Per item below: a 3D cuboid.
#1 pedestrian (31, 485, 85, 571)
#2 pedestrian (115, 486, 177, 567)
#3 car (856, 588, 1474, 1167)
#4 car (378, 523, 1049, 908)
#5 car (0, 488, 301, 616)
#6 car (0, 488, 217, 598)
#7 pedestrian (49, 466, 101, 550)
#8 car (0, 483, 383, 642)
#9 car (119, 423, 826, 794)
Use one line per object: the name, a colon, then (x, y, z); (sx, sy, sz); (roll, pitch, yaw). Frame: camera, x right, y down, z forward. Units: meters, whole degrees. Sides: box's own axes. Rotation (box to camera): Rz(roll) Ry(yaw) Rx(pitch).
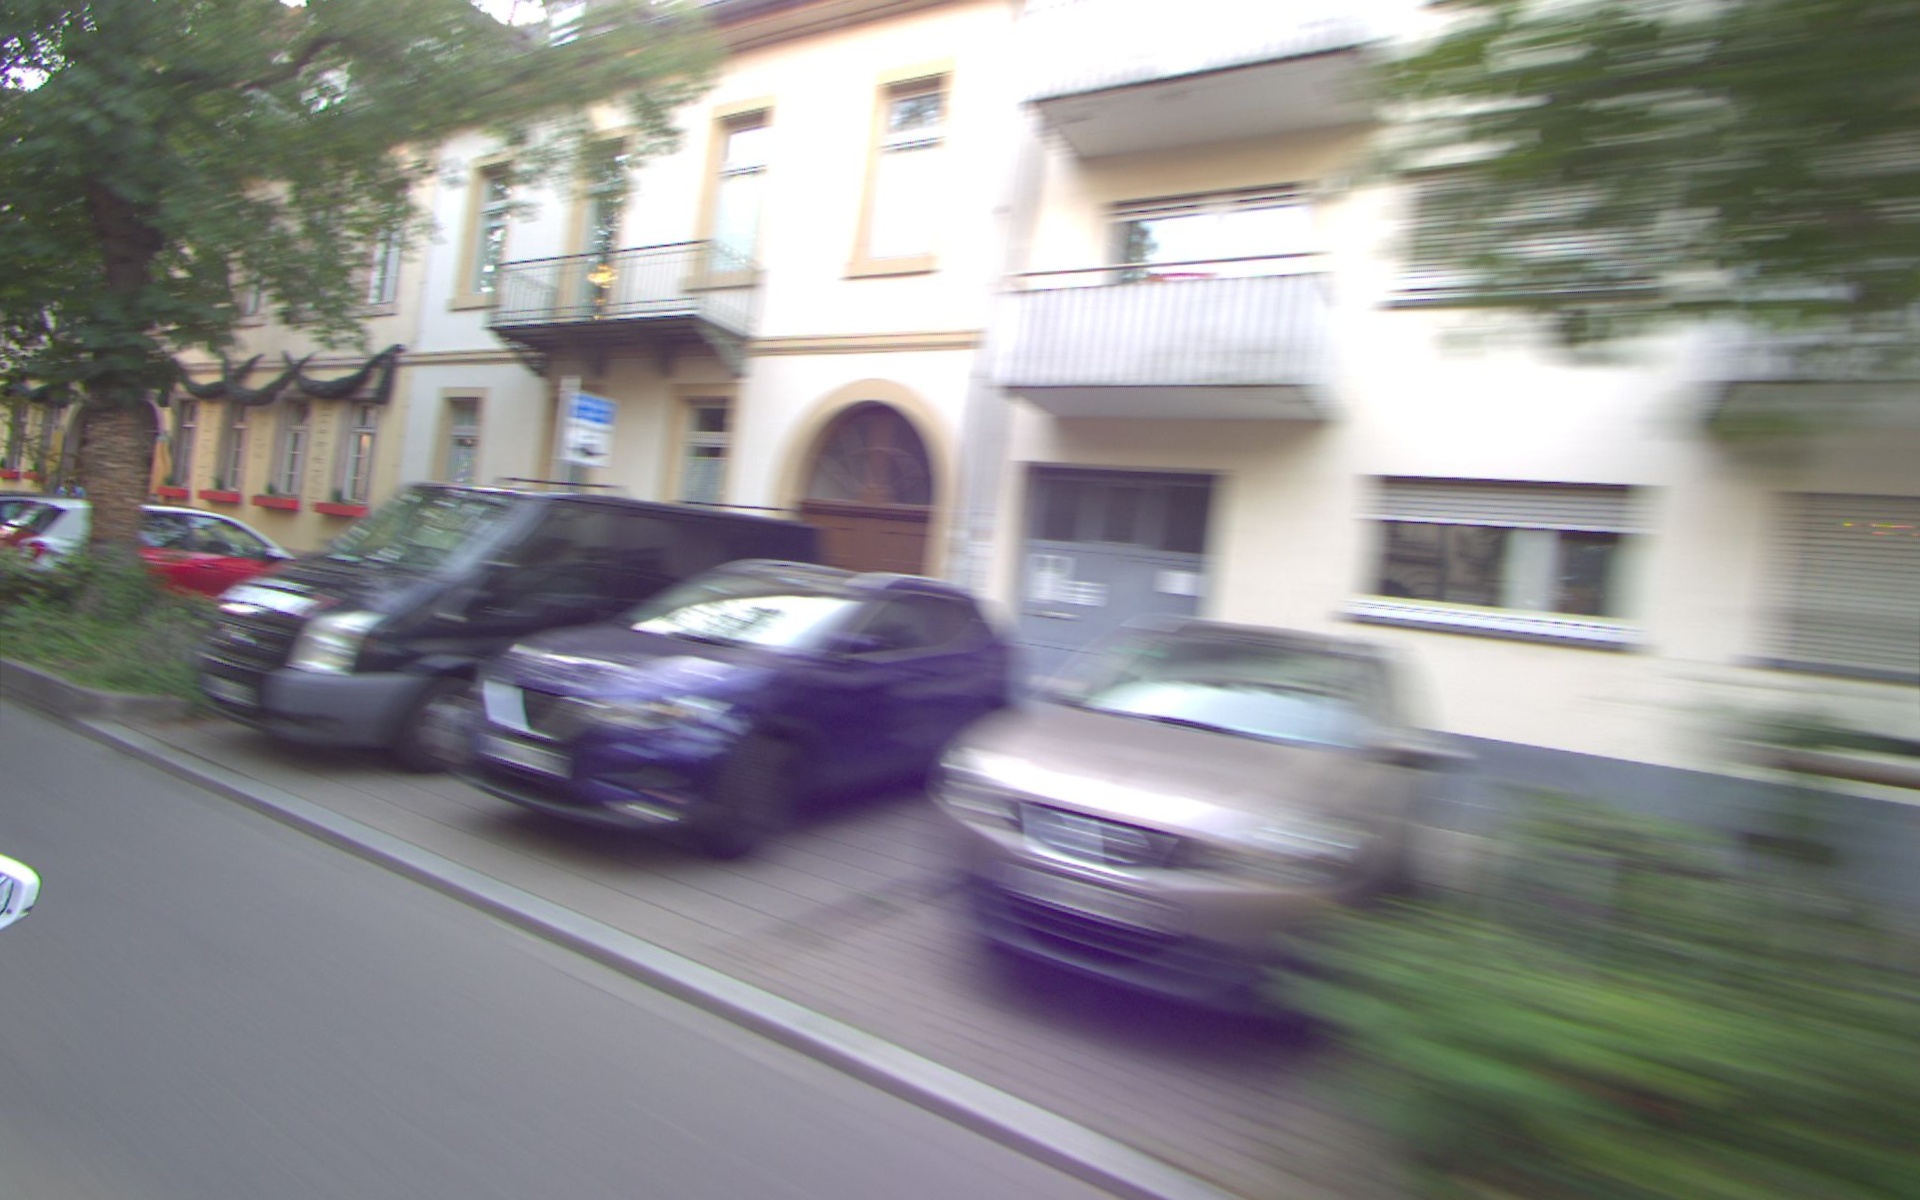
pedestrian: (-19.502, -1.557, 21.758); (0.708, 1.761, 0.739); (6, 3, -39)
pedestrian: (-19.228, -1.722, 23.780); (0.671, 1.761, 0.778); (8, 2, 16)
car: (1.433, 0.901, 5.205); (1.820, 1.599, 3.967); (7, 2, 30)
car: (-1.230, 0.543, 6.748); (1.936, 1.599, 4.158); (7, 2, 30)
car: (-11.570, -0.639, 13.601); (1.894, 1.457, 3.989); (7, 2, 30)
car: (-13.810, -0.896, 14.652); (1.853, 1.412, 4.403); (7, 2, 29)
pedestrian: (-19.863, -2.066, 22.570); (0.613, 1.761, 0.615); (8, 2, 31)
car: (-9.397, -0.390, 12.261); (1.686, 1.599, 3.680); (7, 2, 32)
car: (-3.405, 0.042, 8.084); (2.003, 2.038, 4.691); (7, 2, 31)
